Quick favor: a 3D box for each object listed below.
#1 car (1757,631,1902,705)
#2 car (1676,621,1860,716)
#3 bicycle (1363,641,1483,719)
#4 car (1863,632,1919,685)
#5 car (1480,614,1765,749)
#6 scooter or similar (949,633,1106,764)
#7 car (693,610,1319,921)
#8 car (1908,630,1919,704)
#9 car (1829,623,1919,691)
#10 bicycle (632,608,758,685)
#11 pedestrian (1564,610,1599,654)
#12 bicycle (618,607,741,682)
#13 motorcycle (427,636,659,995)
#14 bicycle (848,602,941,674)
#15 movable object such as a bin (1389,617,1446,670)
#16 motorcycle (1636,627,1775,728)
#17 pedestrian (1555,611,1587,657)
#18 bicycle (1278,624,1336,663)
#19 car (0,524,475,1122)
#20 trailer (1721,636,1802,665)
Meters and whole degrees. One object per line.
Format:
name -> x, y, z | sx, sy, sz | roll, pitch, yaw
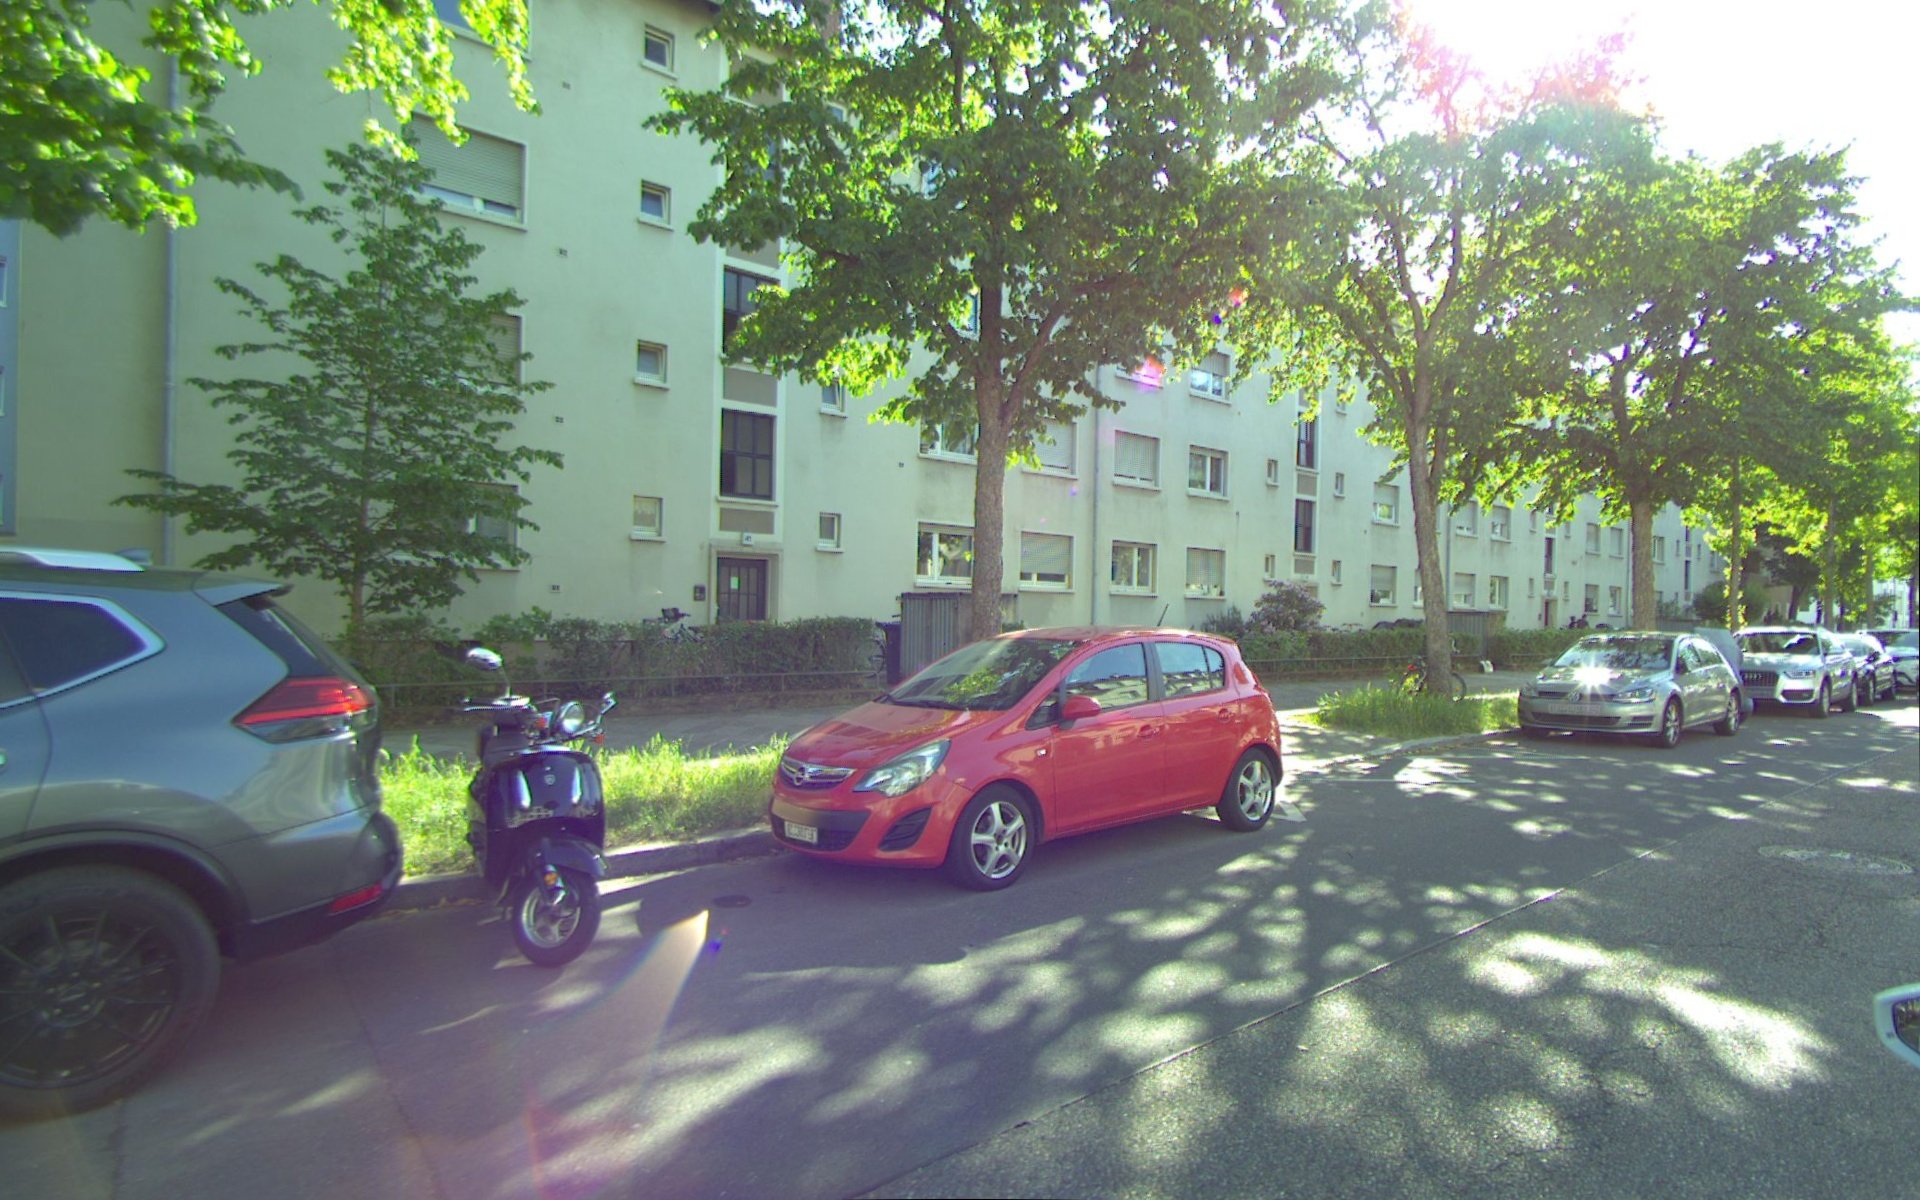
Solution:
car -> 19.318, 1.426, 22.238 | 4.782, 1.466, 1.714 | 1, -3, -40
car -> 15.342, 1.194, 18.984 | 4.687, 1.544, 2.045 | 1, -1, -43
bicycle -> 6.962, 1.167, 15.061 | 2.069, 1.029, 0.527 | 1, 7, -34
car -> 28.404, 1.707, 29.773 | 4.580, 1.496, 1.715 | 2, -4, -39
car -> 9.353, 1.016, 14.042 | 4.566, 1.544, 2.027 | 1, 0, -39
scooter or similar -> 0.670, 0.980, 10.159 | 1.487, 1.251, 0.555 | 1, 0, -10
car -> 0.502, 0.848, 6.909 | 4.147, 1.489, 1.841 | 1, -1, -39
car -> 21.077, 1.366, 20.702 | 4.332, 1.465, 1.794 | 2, -2, -41
car -> 24.364, 1.466, 26.349 | 4.332, 1.639, 1.714 | 2, -4, -41
bicycle -> -4.366, 0.754, 16.645 | 1.894, 1.217, 0.681 | 1, -1, -38
pedestrian -> 27.393, 1.408, 44.289 | 1.013, 1.913, 0.929 | 1, -1, -29
bicycle -> -4.787, 0.740, 17.208 | 1.894, 1.217, 0.681 | 1, -1, -38
motorcycle -> -2.131, 0.876, 4.958 | 0.778, 1.350, 1.943 | 1, -1, -31
bicycle -> -1.219, 0.716, 19.036 | 1.898, 1.306, 0.395 | 2, -1, -41
movable object such as a bin -> 11.887, 1.113, 26.069 | 1.370, 1.341, 0.920 | 2, -1, -45
motorcycle -> 12.221, 1.213, 16.572 | 0.969, 1.523, 2.235 | 0, -1, 11
pedestrian -> 26.514, 1.471, 43.578 | 0.863, 1.939, 0.781 | 1, -1, -12
bicycle -> 9.873, 1.217, 28.569 | 1.922, 1.055, 0.779 | 2, -1, -44
car -> -4.163, 0.620, 2.808 | 4.776, 1.710, 1.753 | 2, -1, -41
trailer -> 31.902, 1.976, 39.965 | 3.251, 1.047, 1.775 | 2, -1, -38
